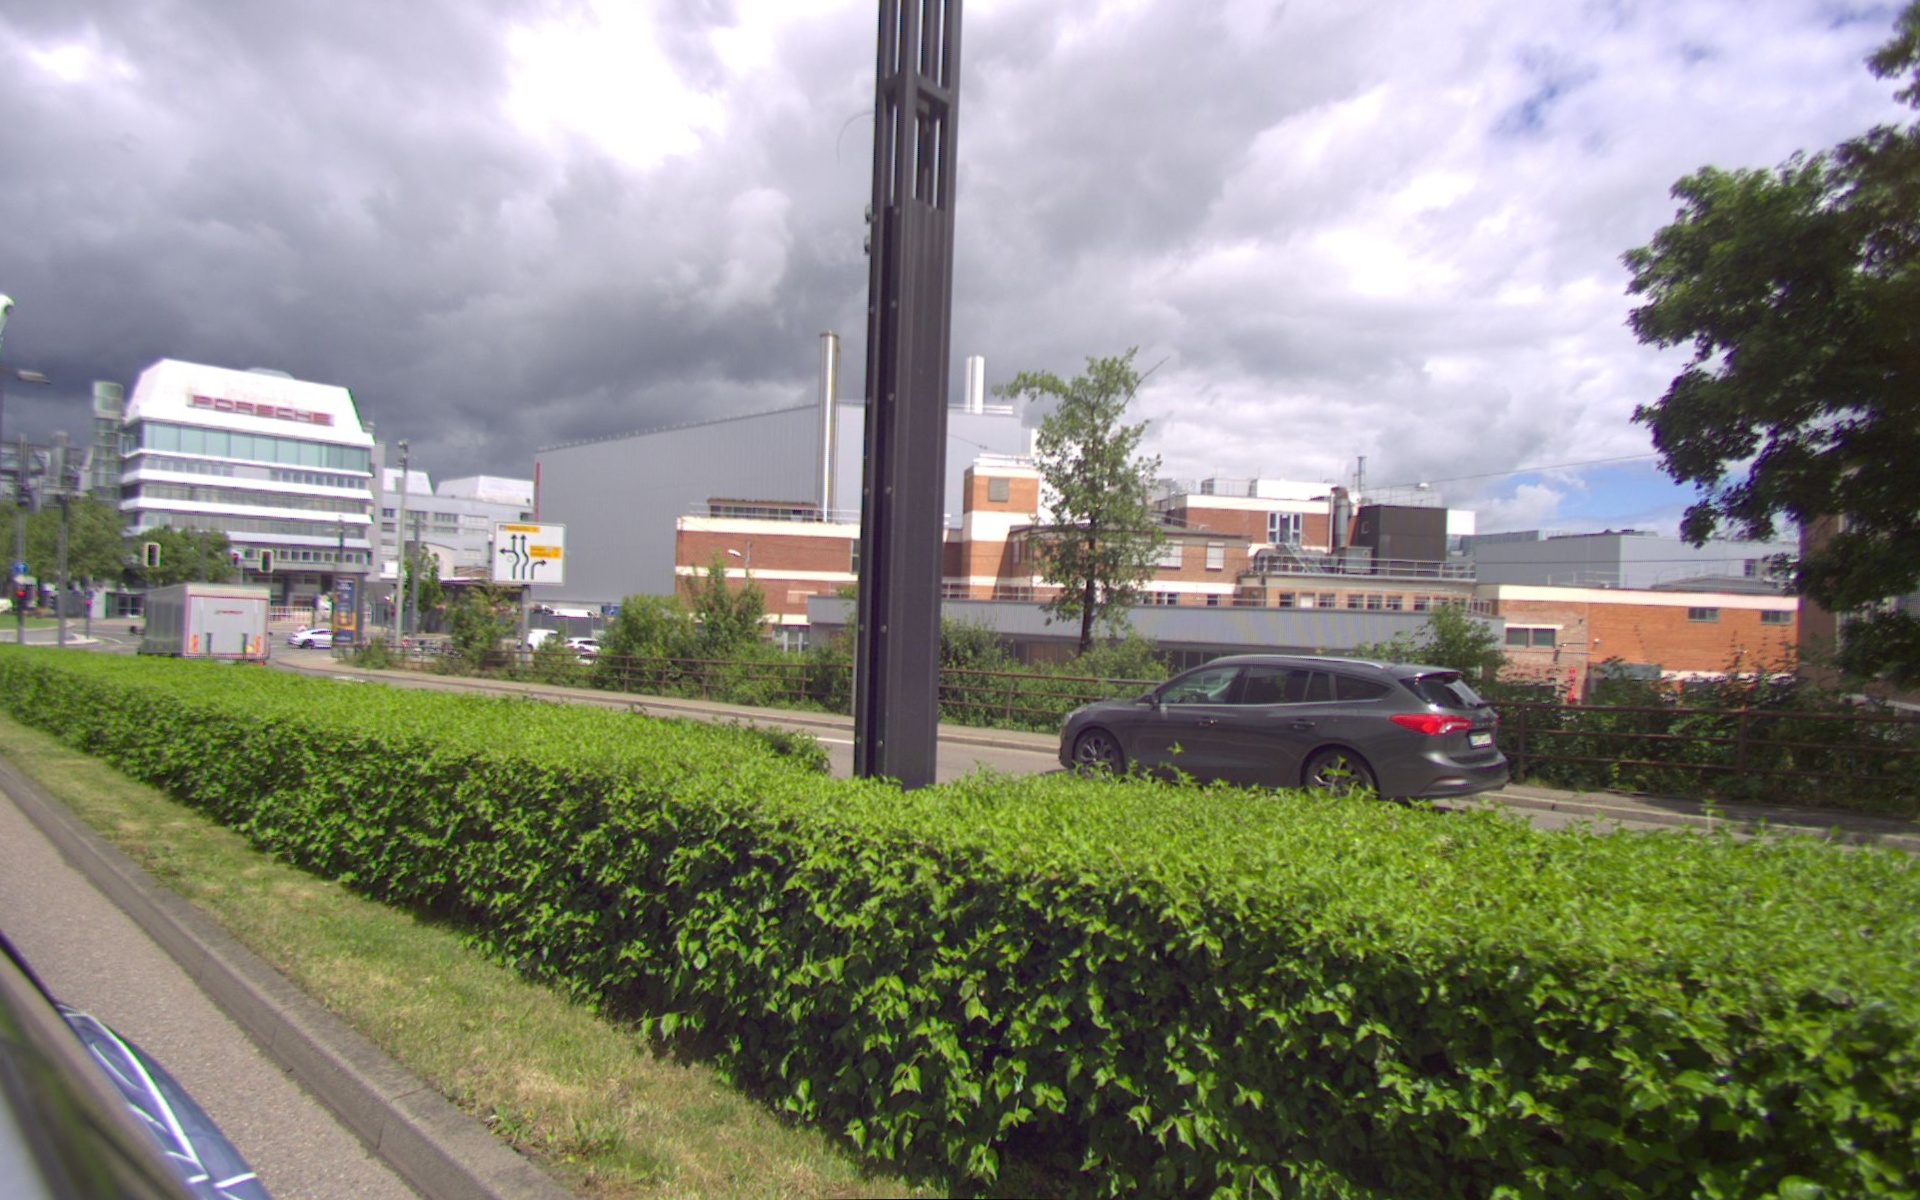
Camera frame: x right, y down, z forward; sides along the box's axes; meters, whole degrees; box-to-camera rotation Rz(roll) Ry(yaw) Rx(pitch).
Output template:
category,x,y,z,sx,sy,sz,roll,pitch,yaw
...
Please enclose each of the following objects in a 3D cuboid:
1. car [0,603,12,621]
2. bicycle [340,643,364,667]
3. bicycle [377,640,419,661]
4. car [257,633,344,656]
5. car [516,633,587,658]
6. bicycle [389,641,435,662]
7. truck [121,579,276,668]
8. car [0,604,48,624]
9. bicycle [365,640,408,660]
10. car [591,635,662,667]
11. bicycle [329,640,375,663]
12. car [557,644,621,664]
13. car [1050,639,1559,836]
category,x,y,z,sx,sy,sz,roll,pitch,yaw
car,-101.265,1.271,104.955,4.351,1.843,1.994,0,-2,9
bicycle,-26.817,2.417,44.607,0.513,0.996,1.952,2,-3,-43
bicycle,-27.942,2.493,50.315,0.616,0.996,1.939,-1,-2,17
car,-45.392,3.044,69.718,4.710,1.497,2.052,2,-2,-42
car,-31.955,3.549,79.299,4.789,1.837,2.004,2,-2,-38
bicycle,-26.938,2.503,49.763,0.619,0.996,1.928,-2,-3,32
truck,-27.964,0.999,36.954,9.374,2.879,2.825,-4,-4,42
car,-87.162,1.291,93.358,4.132,1.708,1.956,1,-1,-5
bicycle,-28.647,2.481,50.585,0.616,0.996,1.939,-1,-2,17
car,-19.969,3.054,60.641,3.931,1.875,1.757,1,-2,-21
bicycle,-32.771,2.756,54.560,2.012,1.176,0.622,2,-2,-40
car,-27.284,3.943,74.516,4.123,1.380,1.623,2,-2,-41
car,3.259,1.177,10.280,4.563,1.519,1.819,-2,-3,45
